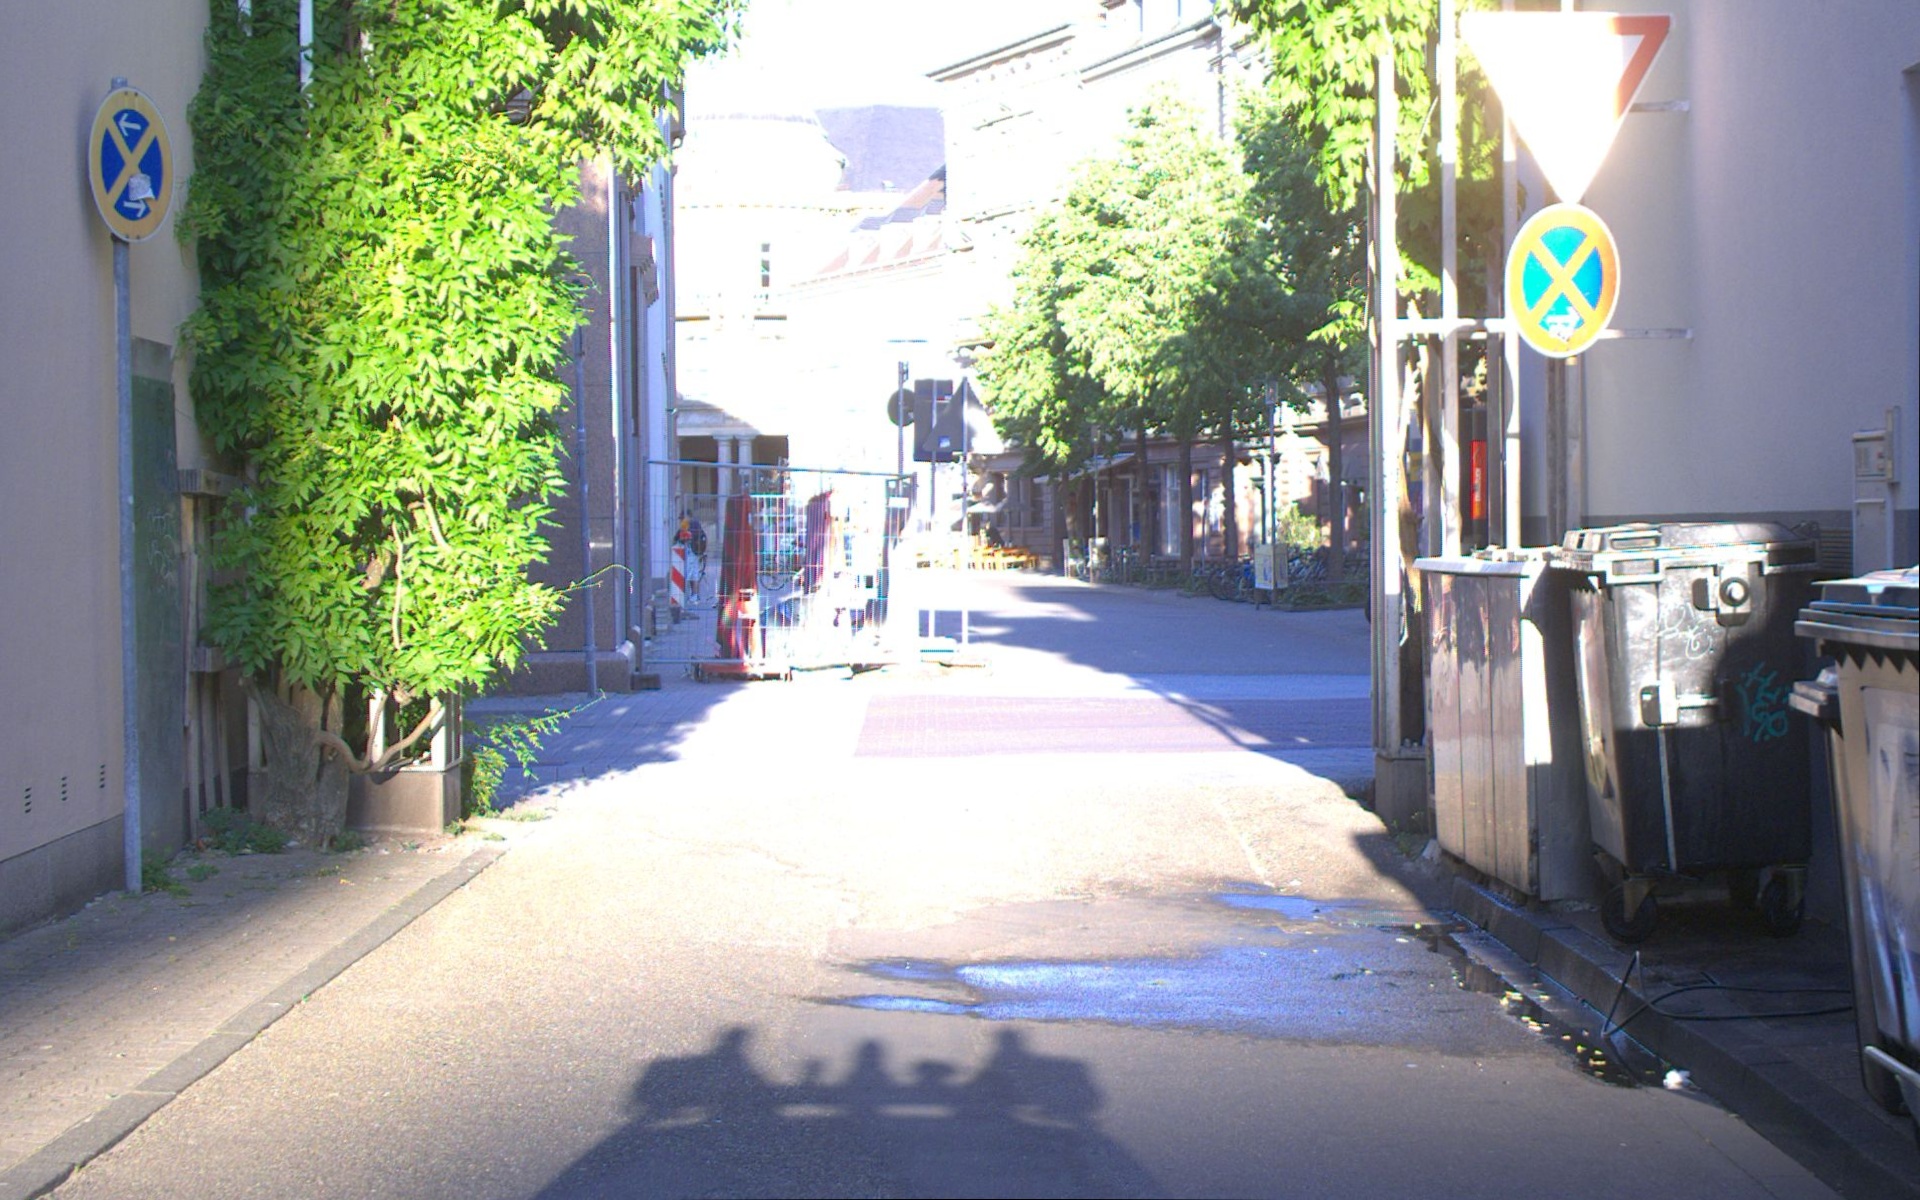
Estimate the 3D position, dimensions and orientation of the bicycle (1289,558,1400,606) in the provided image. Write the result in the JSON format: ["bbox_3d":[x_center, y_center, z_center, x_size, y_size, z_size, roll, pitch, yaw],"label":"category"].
[{"bbox_3d":[7.750,-0.371,69.262,2.152,0.922,0.591,-1,0,-17],"label":"bicycle"}]

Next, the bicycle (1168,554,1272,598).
[{"bbox_3d":[5.646,-0.524,74.651,2.152,0.922,0.591,-1,0,-9],"label":"bicycle"}]

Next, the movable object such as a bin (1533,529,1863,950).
[{"bbox_3d":[2.459,0.433,11.597,0.836,1.300,1.290,-3,1,3],"label":"movable object such as a bin"}]

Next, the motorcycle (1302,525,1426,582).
[{"bbox_3d":[8.030,-0.919,68.341,2.470,1.091,0.591,-1,0,-24],"label":"motorcycle"}]

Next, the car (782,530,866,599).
[{"bbox_3d":[-3.483,-0.912,87.415,1.841,1.678,3.645,-1,1,-7],"label":"car"}]

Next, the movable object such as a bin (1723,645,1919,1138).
[{"bbox_3d":[2.364,0.658,8.178,0.869,1.071,0.738,-3,1,-2],"label":"movable object such as a bin"}]

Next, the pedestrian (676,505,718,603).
[{"bbox_3d":[-4.753,-0.829,62.222,0.654,1.758,0.634,-1,1,3],"label":"pedestrian"}]

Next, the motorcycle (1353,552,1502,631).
[{"bbox_3d":[7.065,-0.125,51.986,2.152,1.147,0.494,-1,0,-4],"label":"motorcycle"}]

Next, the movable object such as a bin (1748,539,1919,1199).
[{"bbox_3d":[2.331,0.554,6.947,1.064,1.362,1.342,-3,1,-2],"label":"movable object such as a bin"}]

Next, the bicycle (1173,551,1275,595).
[{"bbox_3d":[5.807,-0.597,75.642,2.152,0.922,0.591,-1,0,-9],"label":"bicycle"}]

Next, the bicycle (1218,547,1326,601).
[{"bbox_3d":[6.469,-0.535,71.326,2.154,1.057,0.590,-1,0,13],"label":"bicycle"}]

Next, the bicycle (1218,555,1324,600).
[{"bbox_3d":[6.660,-0.479,73.665,2.152,0.922,0.591,-1,0,-9],"label":"bicycle"}]
